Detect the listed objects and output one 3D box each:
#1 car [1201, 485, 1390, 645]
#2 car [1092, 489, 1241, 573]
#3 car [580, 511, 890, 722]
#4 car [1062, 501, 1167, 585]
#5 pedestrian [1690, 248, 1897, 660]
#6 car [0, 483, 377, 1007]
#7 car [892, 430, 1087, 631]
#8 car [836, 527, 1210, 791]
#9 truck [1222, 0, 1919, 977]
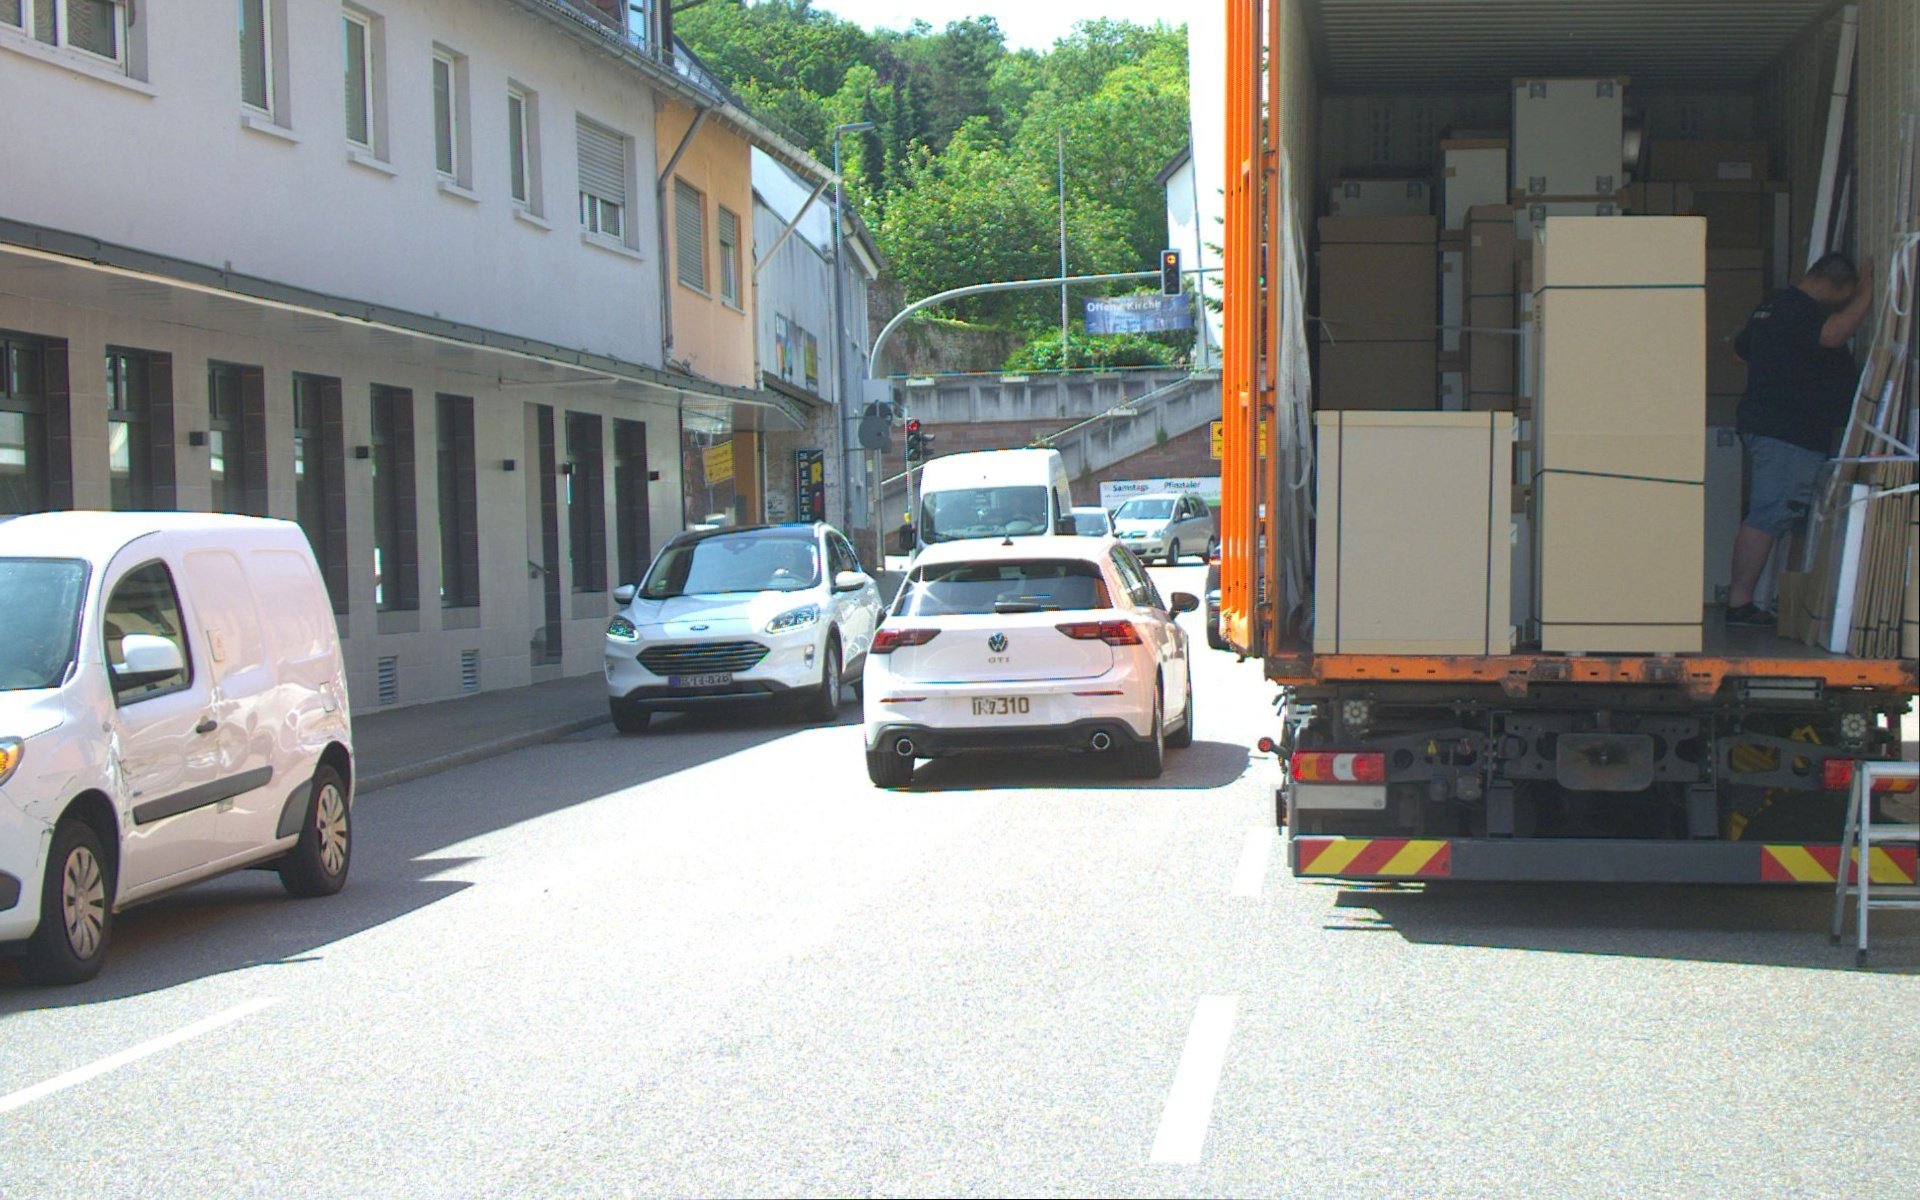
[{"bbox_3d":[3.750,-0.444,39.033,1.949,1.577,4.326,-1,3,3],"label":"car"},{"bbox_3d":[4.633,-1.555,76.729,1.682,1.611,3.815,-3,2,31],"label":"car"},{"bbox_3d":[-1.816,0.114,29.101,1.818,1.549,4.197,-3,0,6],"label":"car"},{"bbox_3d":[2.959,-1.095,65.140,1.597,1.450,3.446,-4,1,8],"label":"car"},{"bbox_3d":[3.651,-0.627,15.117,0.750,1.750,0.927,1,0,7],"label":"pedestrian"},{"bbox_3d":[-3.986,0.516,14.083,1.783,1.823,4.599,-3,0,8],"label":"car"},{"bbox_3d":[0.488,-0.996,48.598,2.140,2.560,5.393,-3,1,6],"label":"car"},{"bbox_3d":[0.489,0.301,21.436,1.783,1.453,3.862,-1,1,9],"label":"car"},{"bbox_3d":[2.979,-0.827,17.453,2.609,3.931,9.990,1,2,8],"label":"truck"}]
